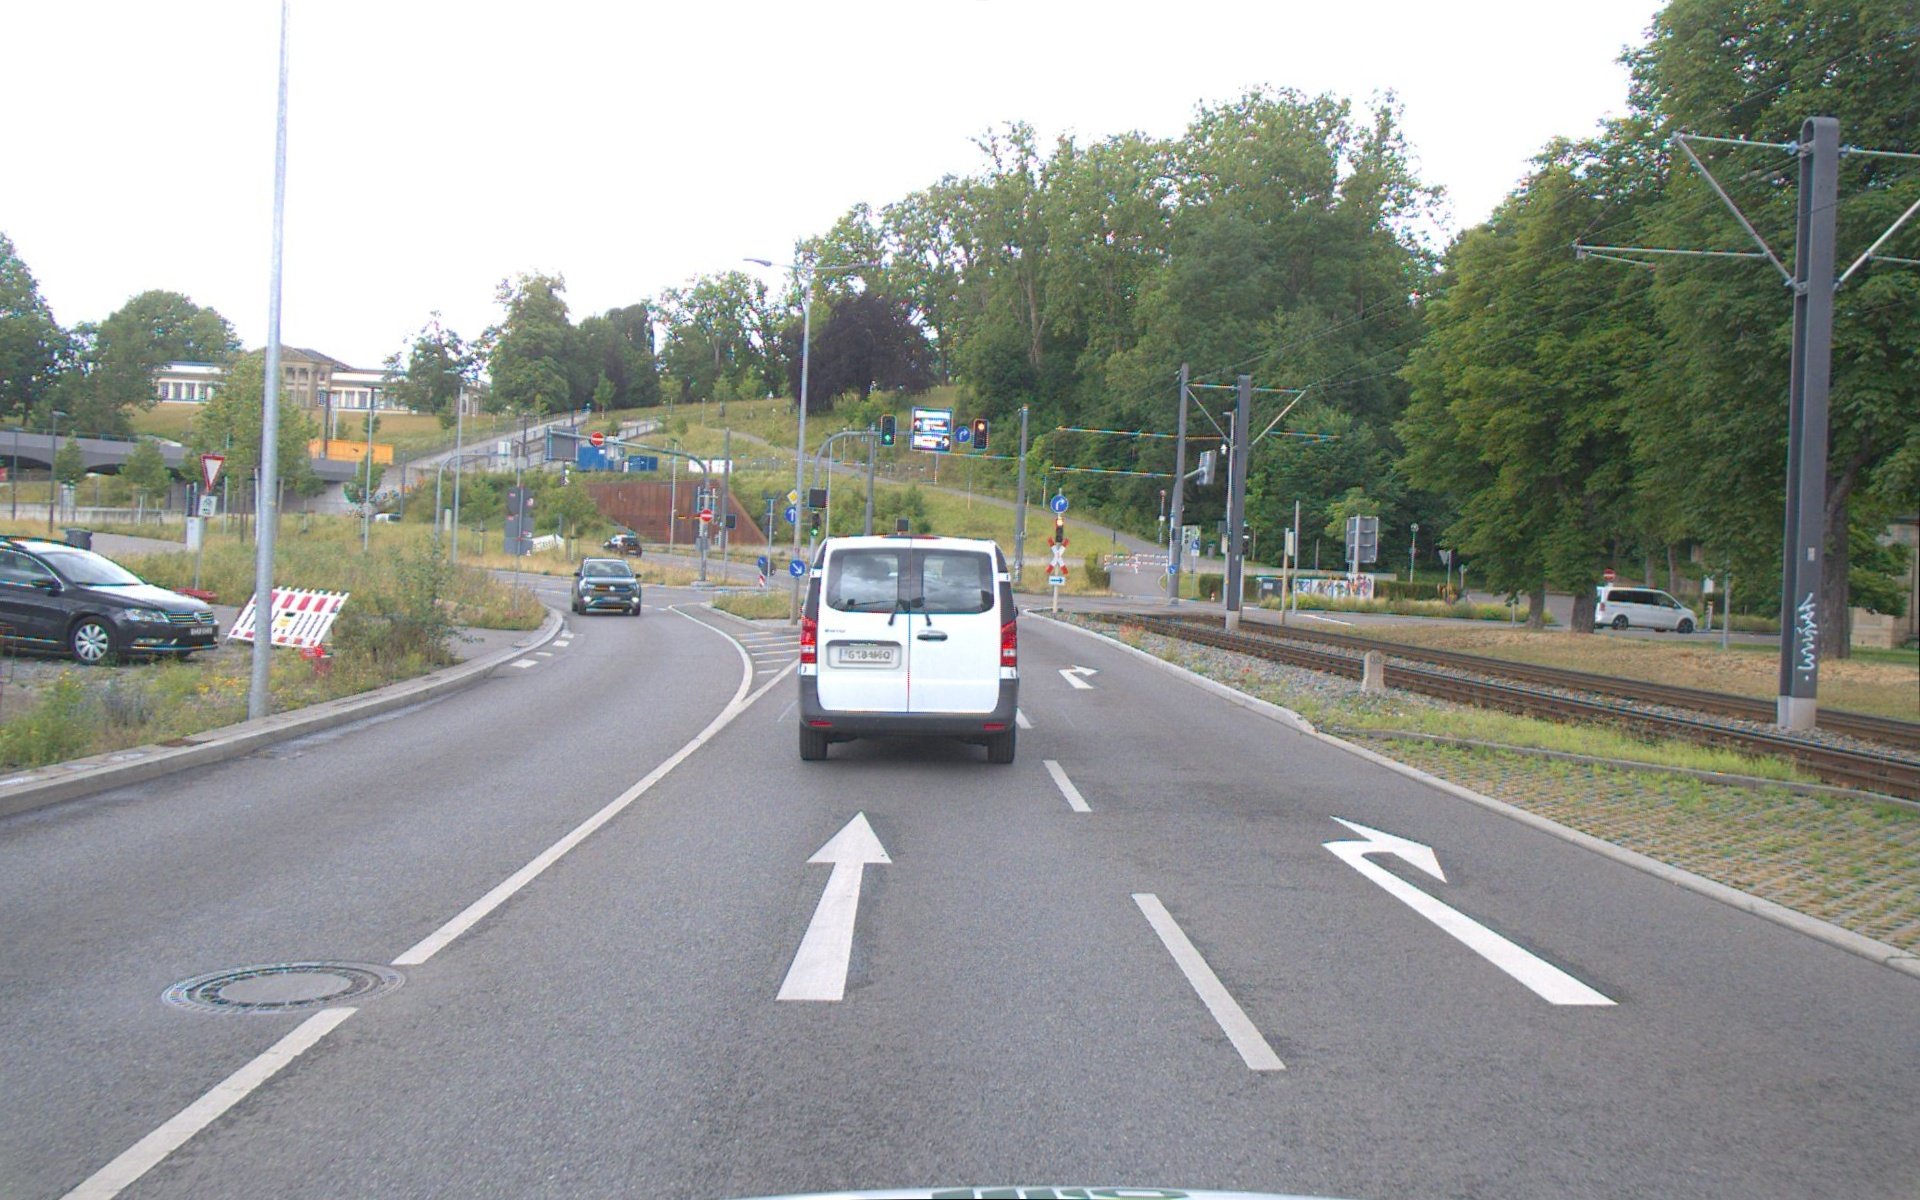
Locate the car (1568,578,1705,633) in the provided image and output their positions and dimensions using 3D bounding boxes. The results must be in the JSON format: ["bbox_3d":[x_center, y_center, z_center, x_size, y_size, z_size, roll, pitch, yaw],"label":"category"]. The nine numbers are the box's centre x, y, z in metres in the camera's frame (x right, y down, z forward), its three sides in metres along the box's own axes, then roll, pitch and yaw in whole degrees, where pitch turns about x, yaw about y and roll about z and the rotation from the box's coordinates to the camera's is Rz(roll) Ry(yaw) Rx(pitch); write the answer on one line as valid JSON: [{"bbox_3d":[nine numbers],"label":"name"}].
[{"bbox_3d":[29.405,0.230,71.943,5.042,2.048,2.202,3,0,-11],"label":"car"}]

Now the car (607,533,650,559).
[{"bbox_3d":[-23.016,-3.746,114.625,1.914,1.655,3.967,3,1,-26],"label":"car"}]

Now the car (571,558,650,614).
[{"bbox_3d":[-10.138,-0.432,47.761,1.849,1.502,3.981,1,1,-18],"label":"car"}]

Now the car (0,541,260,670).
[{"bbox_3d":[-11.901,0.013,21.710,4.609,1.503,2.002,2,1,9],"label":"car"}]

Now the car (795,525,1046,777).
[{"bbox_3d":[-0.476,0.362,15.190,1.921,1.937,4.458,1,1,-5],"label":"car"}]
